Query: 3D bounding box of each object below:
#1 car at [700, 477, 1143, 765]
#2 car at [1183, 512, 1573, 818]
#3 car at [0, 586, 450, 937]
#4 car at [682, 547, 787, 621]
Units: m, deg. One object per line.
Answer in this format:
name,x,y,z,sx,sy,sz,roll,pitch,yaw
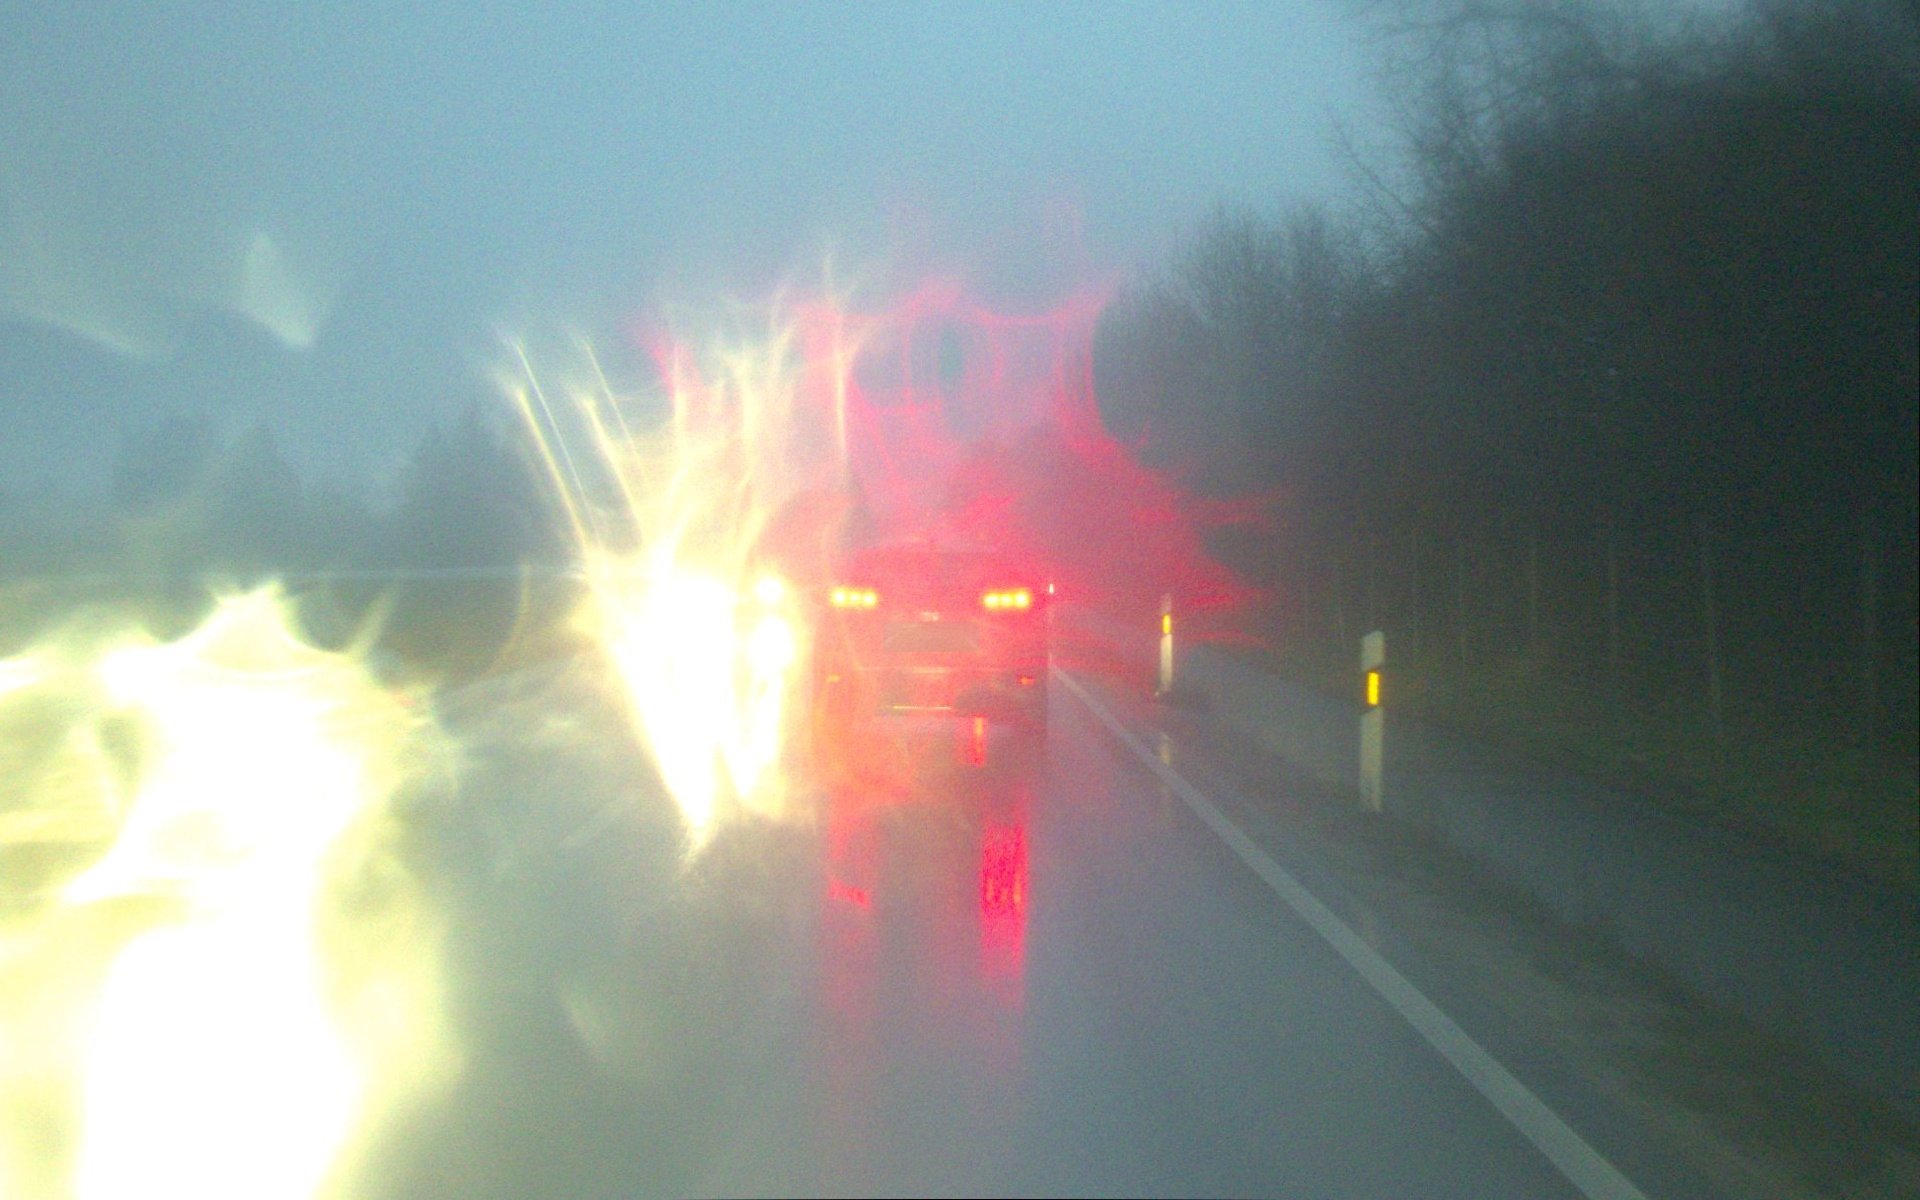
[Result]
car,-0.299,0.085,28.224,3.164,2.028,6.852,-1,1,0
car,2.539,0.355,21.812,1.928,1.744,4.000,1,1,-1
car,-3.684,0.641,16.030,1.993,1.367,4.398,1,1,-1
car,-4.948,-0.369,76.098,1.993,1.458,4.352,-4,1,-1
